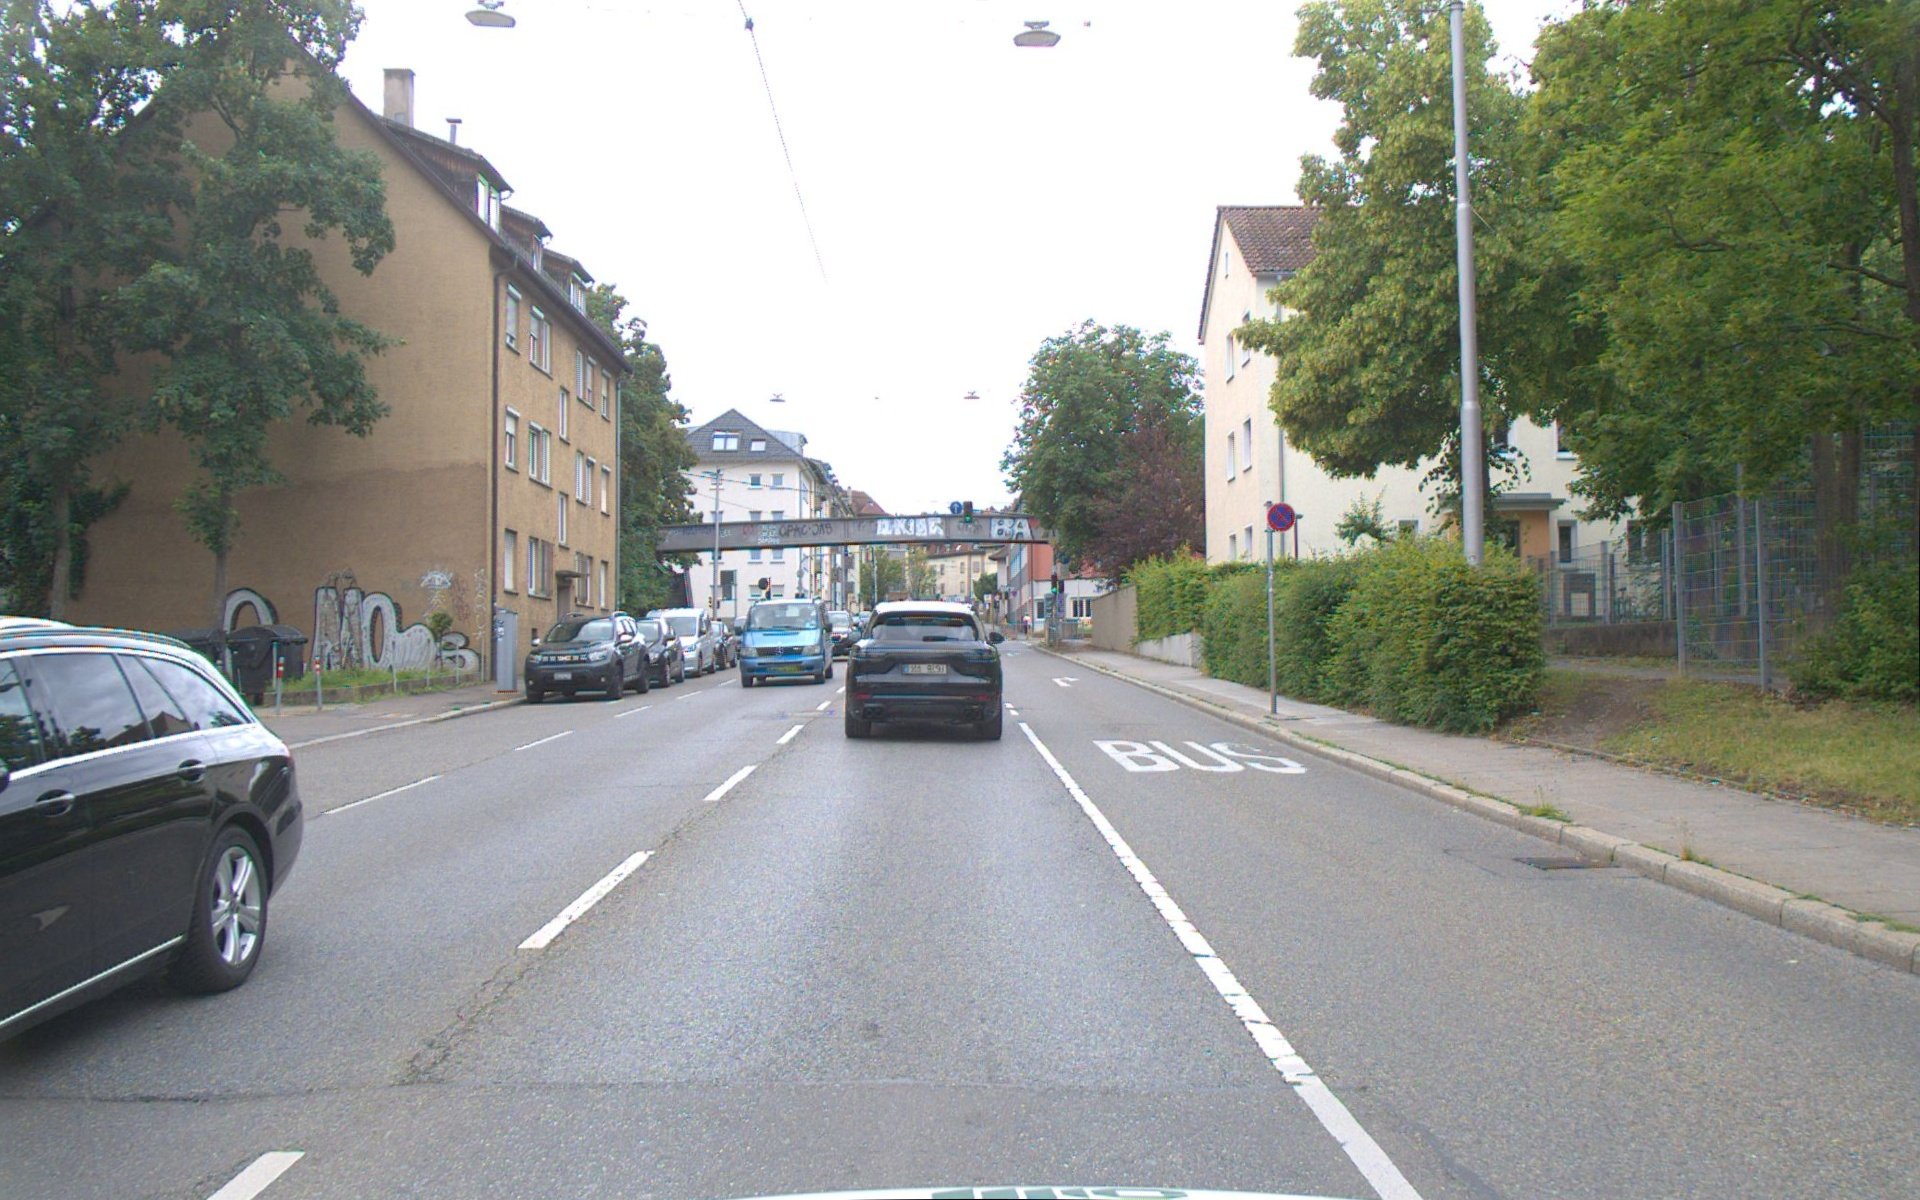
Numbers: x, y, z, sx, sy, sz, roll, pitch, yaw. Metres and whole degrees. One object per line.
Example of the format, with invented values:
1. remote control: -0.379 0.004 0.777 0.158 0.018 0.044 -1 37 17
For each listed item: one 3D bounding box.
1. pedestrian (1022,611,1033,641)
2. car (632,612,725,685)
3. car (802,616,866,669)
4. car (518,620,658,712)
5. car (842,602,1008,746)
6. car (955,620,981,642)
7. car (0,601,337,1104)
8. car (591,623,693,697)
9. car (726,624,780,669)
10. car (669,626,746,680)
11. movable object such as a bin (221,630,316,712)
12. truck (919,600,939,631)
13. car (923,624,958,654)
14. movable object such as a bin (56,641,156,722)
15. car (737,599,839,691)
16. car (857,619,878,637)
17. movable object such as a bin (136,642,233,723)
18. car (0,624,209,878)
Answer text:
1. pedestrian: 4.150 1.605 101.702 0.639 1.823 0.714 0 -1 -3
2. car: -7.466 1.253 44.300 1.740 1.784 4.556 -2 -1 -1
3. car: -4.102 1.374 54.285 1.803 1.618 4.163 -1 -1 -1
4. car: -7.358 1.259 33.087 1.746 1.637 4.264 -3 -1 0
5. car: -0.426 0.876 21.474 1.953 1.691 3.999 0 0 -1
6. car: 0.528 2.065 111.989 1.706 1.425 3.999 0 0 -1
7. car: -3.732 0.775 5.335 1.741 1.492 4.498 -1 -1 0
8. car: -7.332 1.357 38.513 1.716 1.557 4.096 -2 -1 -3
9. car: -7.838 1.745 62.907 1.711 1.596 3.906 -2 -1 -3
10. car: -7.531 1.559 49.589 1.710 1.464 3.912 -2 -1 -1
11. movable object such as a bin: -12.659 1.281 30.341 1.256 1.453 1.278 0 -1 -5
12. truck: -3.577 1.837 190.455 2.221 3.484 9.875 -1 -1 -1
13. car: -0.981 1.949 83.036 1.706 1.425 3.999 0 0 -1
14. movable object such as a bin: -15.716 1.496 30.474 1.365 1.453 0.912 0 -1 -3
15. car: -3.860 0.977 37.791 1.891 1.934 4.588 -1 0 -1
16. car: -8.762 2.690 157.385 1.729 1.679 3.999 -1 -1 0
17. movable object such as a bin: -14.307 1.508 30.552 1.365 1.453 0.912 0 -1 -3
18. car: -7.048 0.993 11.078 1.876 1.605 4.699 -1 -1 0
